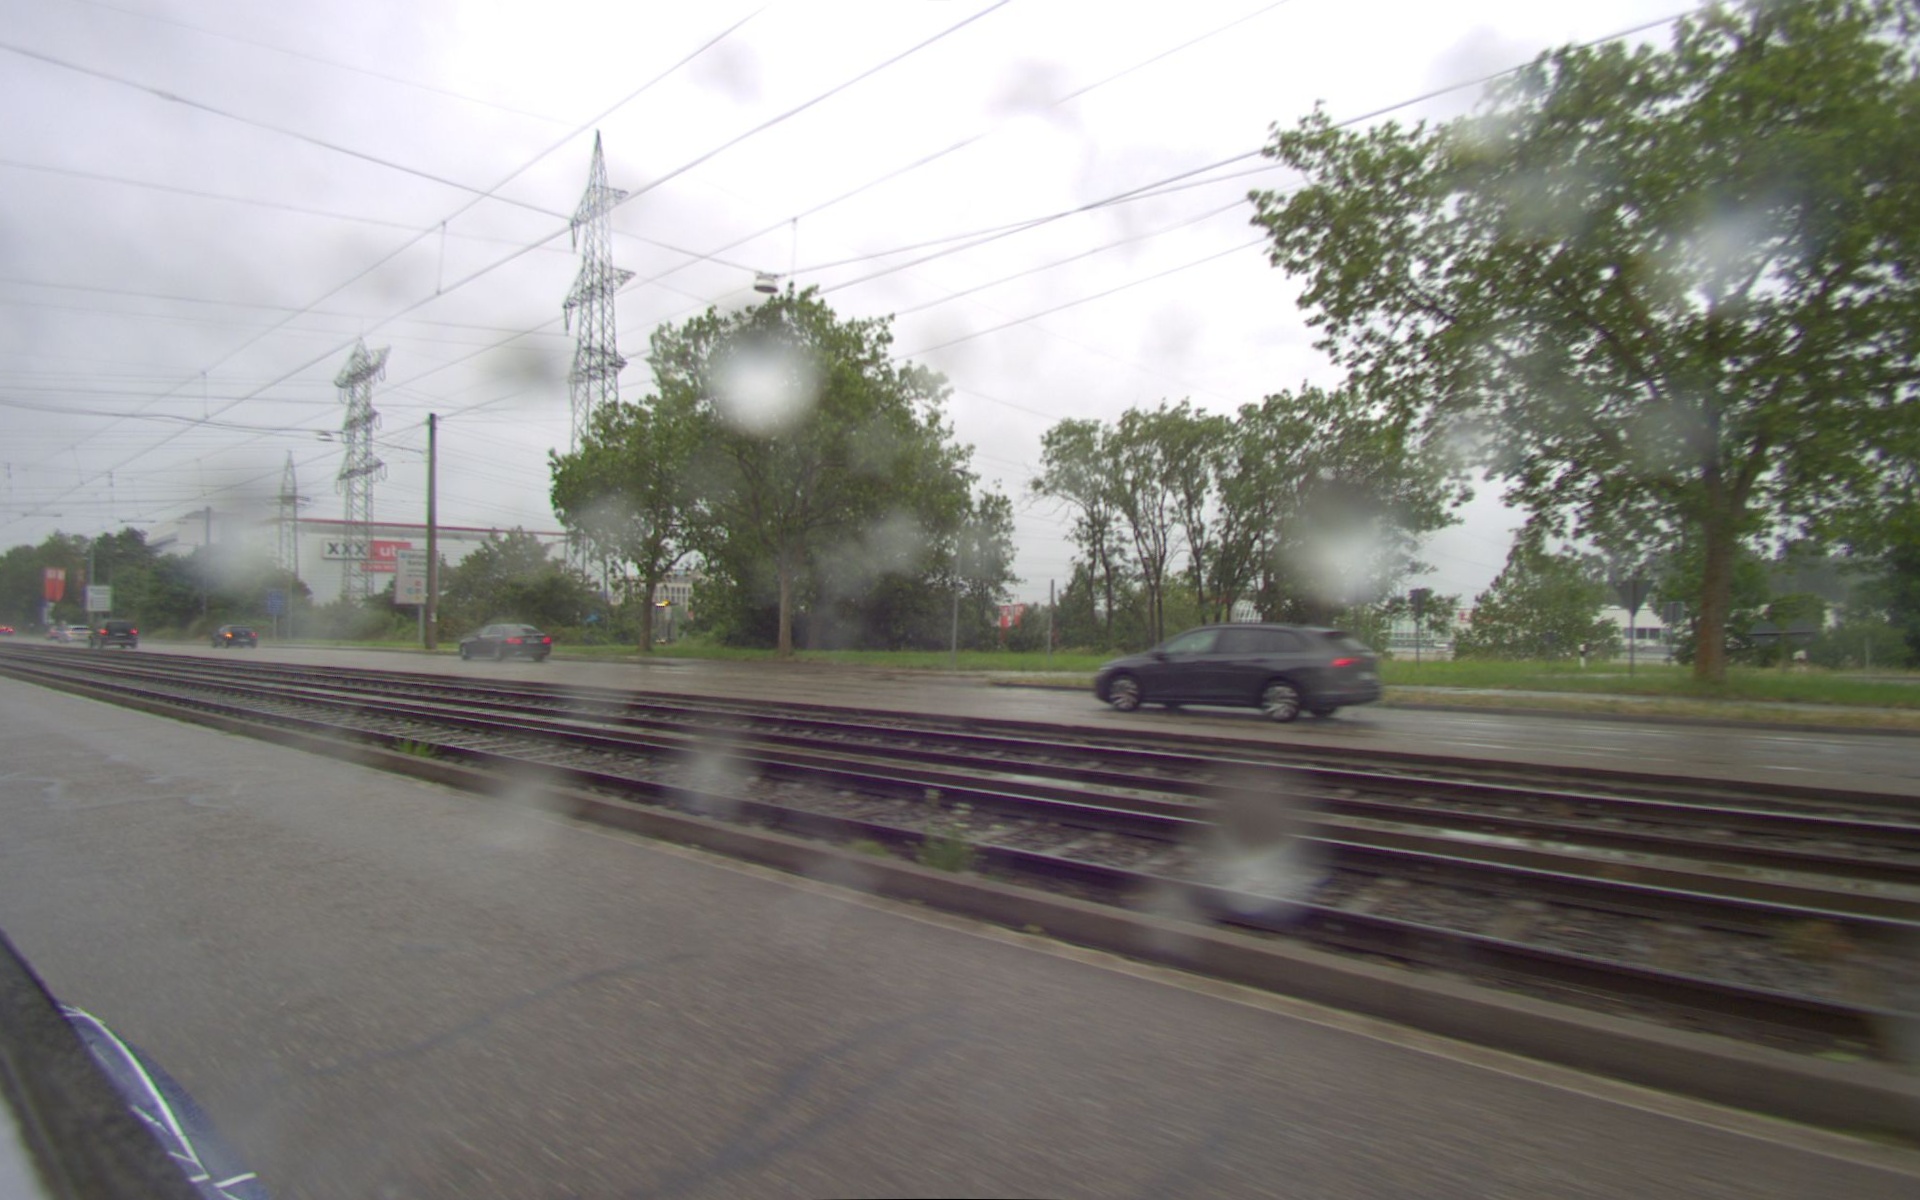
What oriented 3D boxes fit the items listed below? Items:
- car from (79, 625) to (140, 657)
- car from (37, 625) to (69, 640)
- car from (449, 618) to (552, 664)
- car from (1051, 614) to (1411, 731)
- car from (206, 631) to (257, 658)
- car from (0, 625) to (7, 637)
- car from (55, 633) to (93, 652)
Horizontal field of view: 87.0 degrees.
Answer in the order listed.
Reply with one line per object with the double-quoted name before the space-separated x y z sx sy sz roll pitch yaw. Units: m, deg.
"car" -50.717 2.452 60.289 4.999 1.823 1.869 -3 -1 39
"car" -89.749 3.236 100.110 5.068 1.373 1.740 -3 -1 41
"car" -18.326 1.629 40.278 4.645 1.699 1.823 -3 -1 39
"car" 4.141 1.087 16.193 5.310 1.561 1.772 -3 -1 41
"car" -45.657 2.803 63.384 3.997 1.564 1.672 -3 -1 40
"car" -127.154 4.094 133.422 5.251 1.475 1.971 -3 -4 44
"car" -70.509 3.381 80.511 4.543 1.364 1.724 -3 -1 41
